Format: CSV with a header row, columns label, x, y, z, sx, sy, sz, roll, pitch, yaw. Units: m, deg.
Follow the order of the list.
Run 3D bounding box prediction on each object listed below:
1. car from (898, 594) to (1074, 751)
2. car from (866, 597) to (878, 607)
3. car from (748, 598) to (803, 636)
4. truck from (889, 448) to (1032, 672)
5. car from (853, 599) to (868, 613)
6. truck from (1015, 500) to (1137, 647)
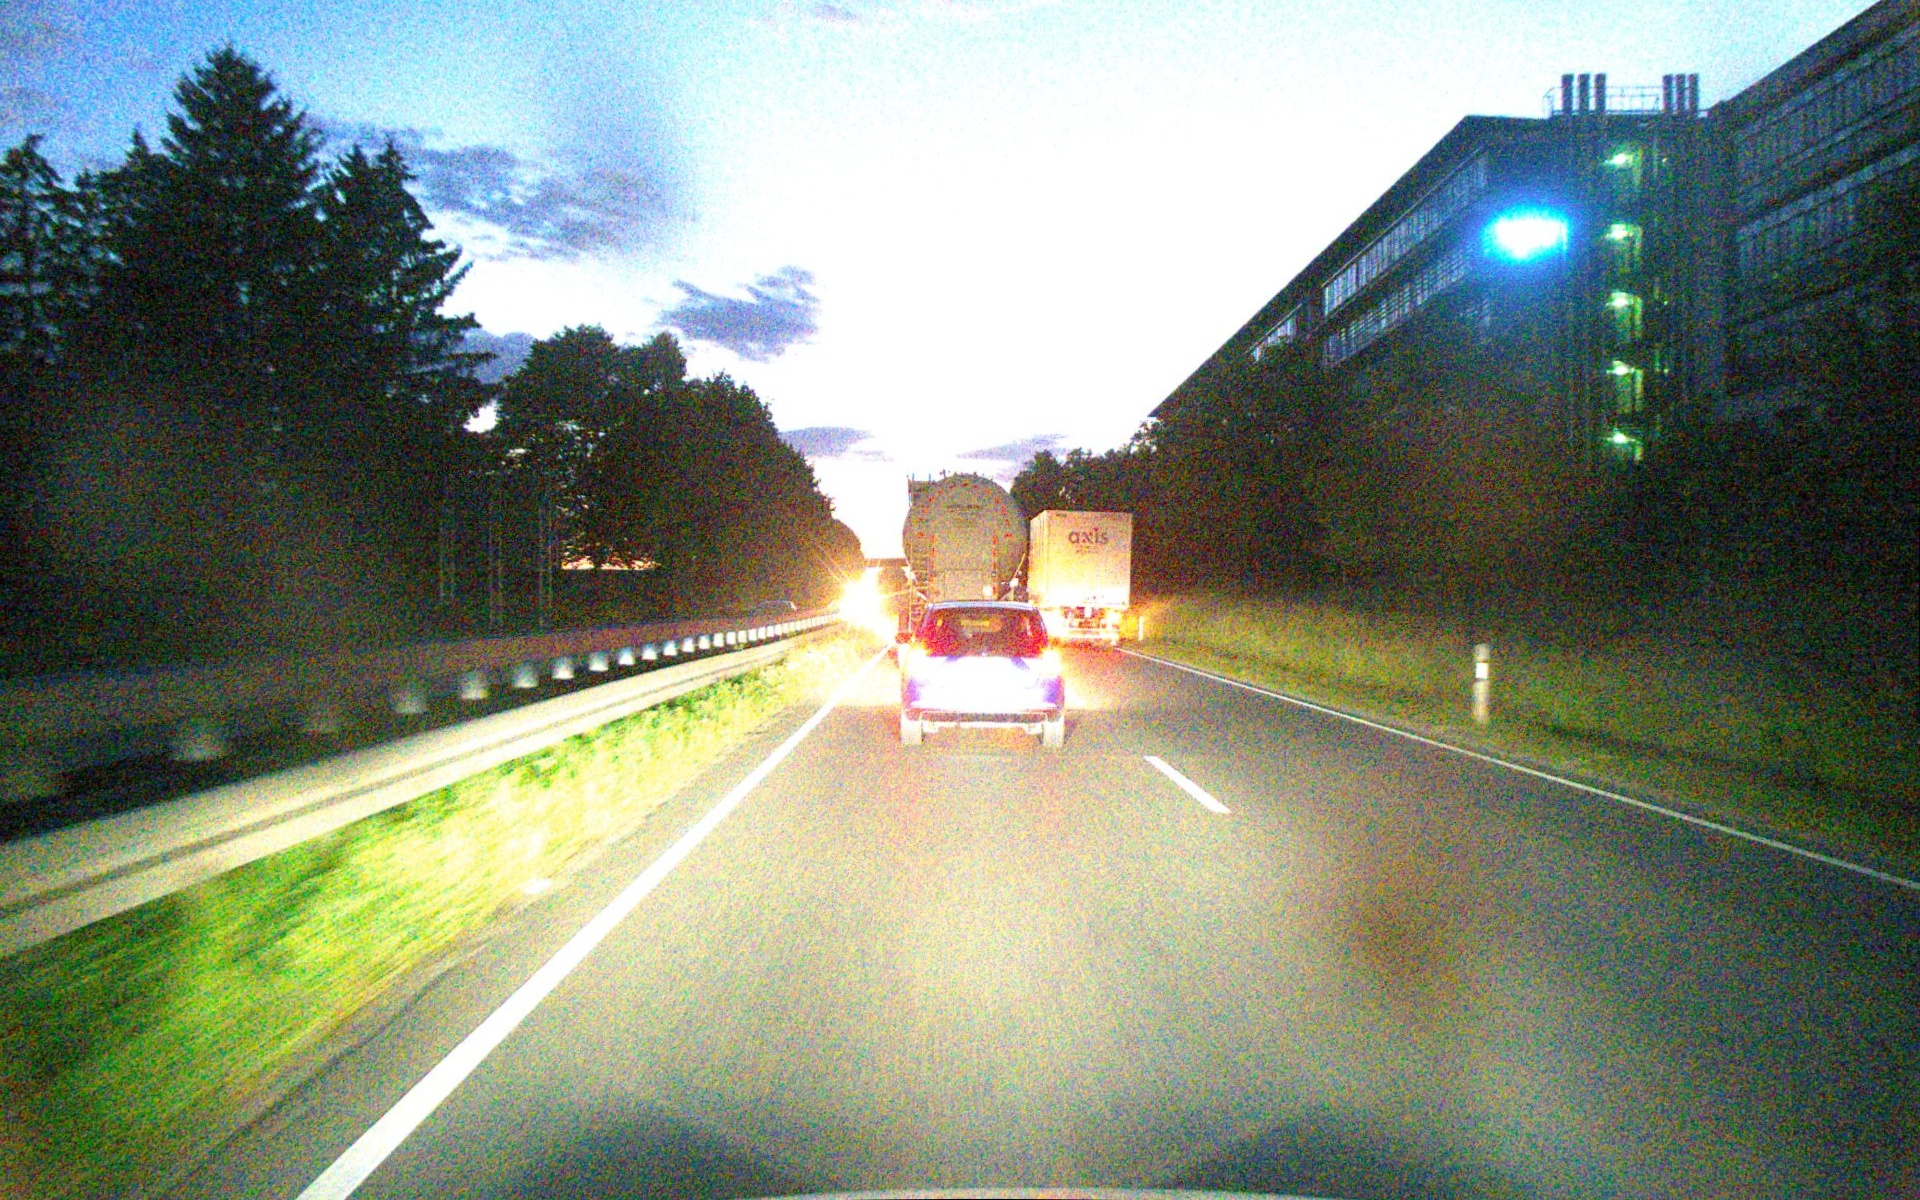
label,x,y,z,sx,sy,sz,roll,pitch,yaw
car,0.221,0.700,17.817,1.661,1.478,3.913,1,0,-1
car,-13.572,0.313,254.701,1.584,1.533,3.868,1,0,-1
car,-7.220,0.646,65.121,1.685,1.432,4.573,1,0,-1
truck,-0.087,-0.725,37.781,2.633,4.178,13.138,1,0,-1
car,-12.104,0.689,201.006,1.648,1.615,4.166,1,0,-1
truck,3.546,-0.740,53.894,2.824,4.178,12.680,1,0,-1
